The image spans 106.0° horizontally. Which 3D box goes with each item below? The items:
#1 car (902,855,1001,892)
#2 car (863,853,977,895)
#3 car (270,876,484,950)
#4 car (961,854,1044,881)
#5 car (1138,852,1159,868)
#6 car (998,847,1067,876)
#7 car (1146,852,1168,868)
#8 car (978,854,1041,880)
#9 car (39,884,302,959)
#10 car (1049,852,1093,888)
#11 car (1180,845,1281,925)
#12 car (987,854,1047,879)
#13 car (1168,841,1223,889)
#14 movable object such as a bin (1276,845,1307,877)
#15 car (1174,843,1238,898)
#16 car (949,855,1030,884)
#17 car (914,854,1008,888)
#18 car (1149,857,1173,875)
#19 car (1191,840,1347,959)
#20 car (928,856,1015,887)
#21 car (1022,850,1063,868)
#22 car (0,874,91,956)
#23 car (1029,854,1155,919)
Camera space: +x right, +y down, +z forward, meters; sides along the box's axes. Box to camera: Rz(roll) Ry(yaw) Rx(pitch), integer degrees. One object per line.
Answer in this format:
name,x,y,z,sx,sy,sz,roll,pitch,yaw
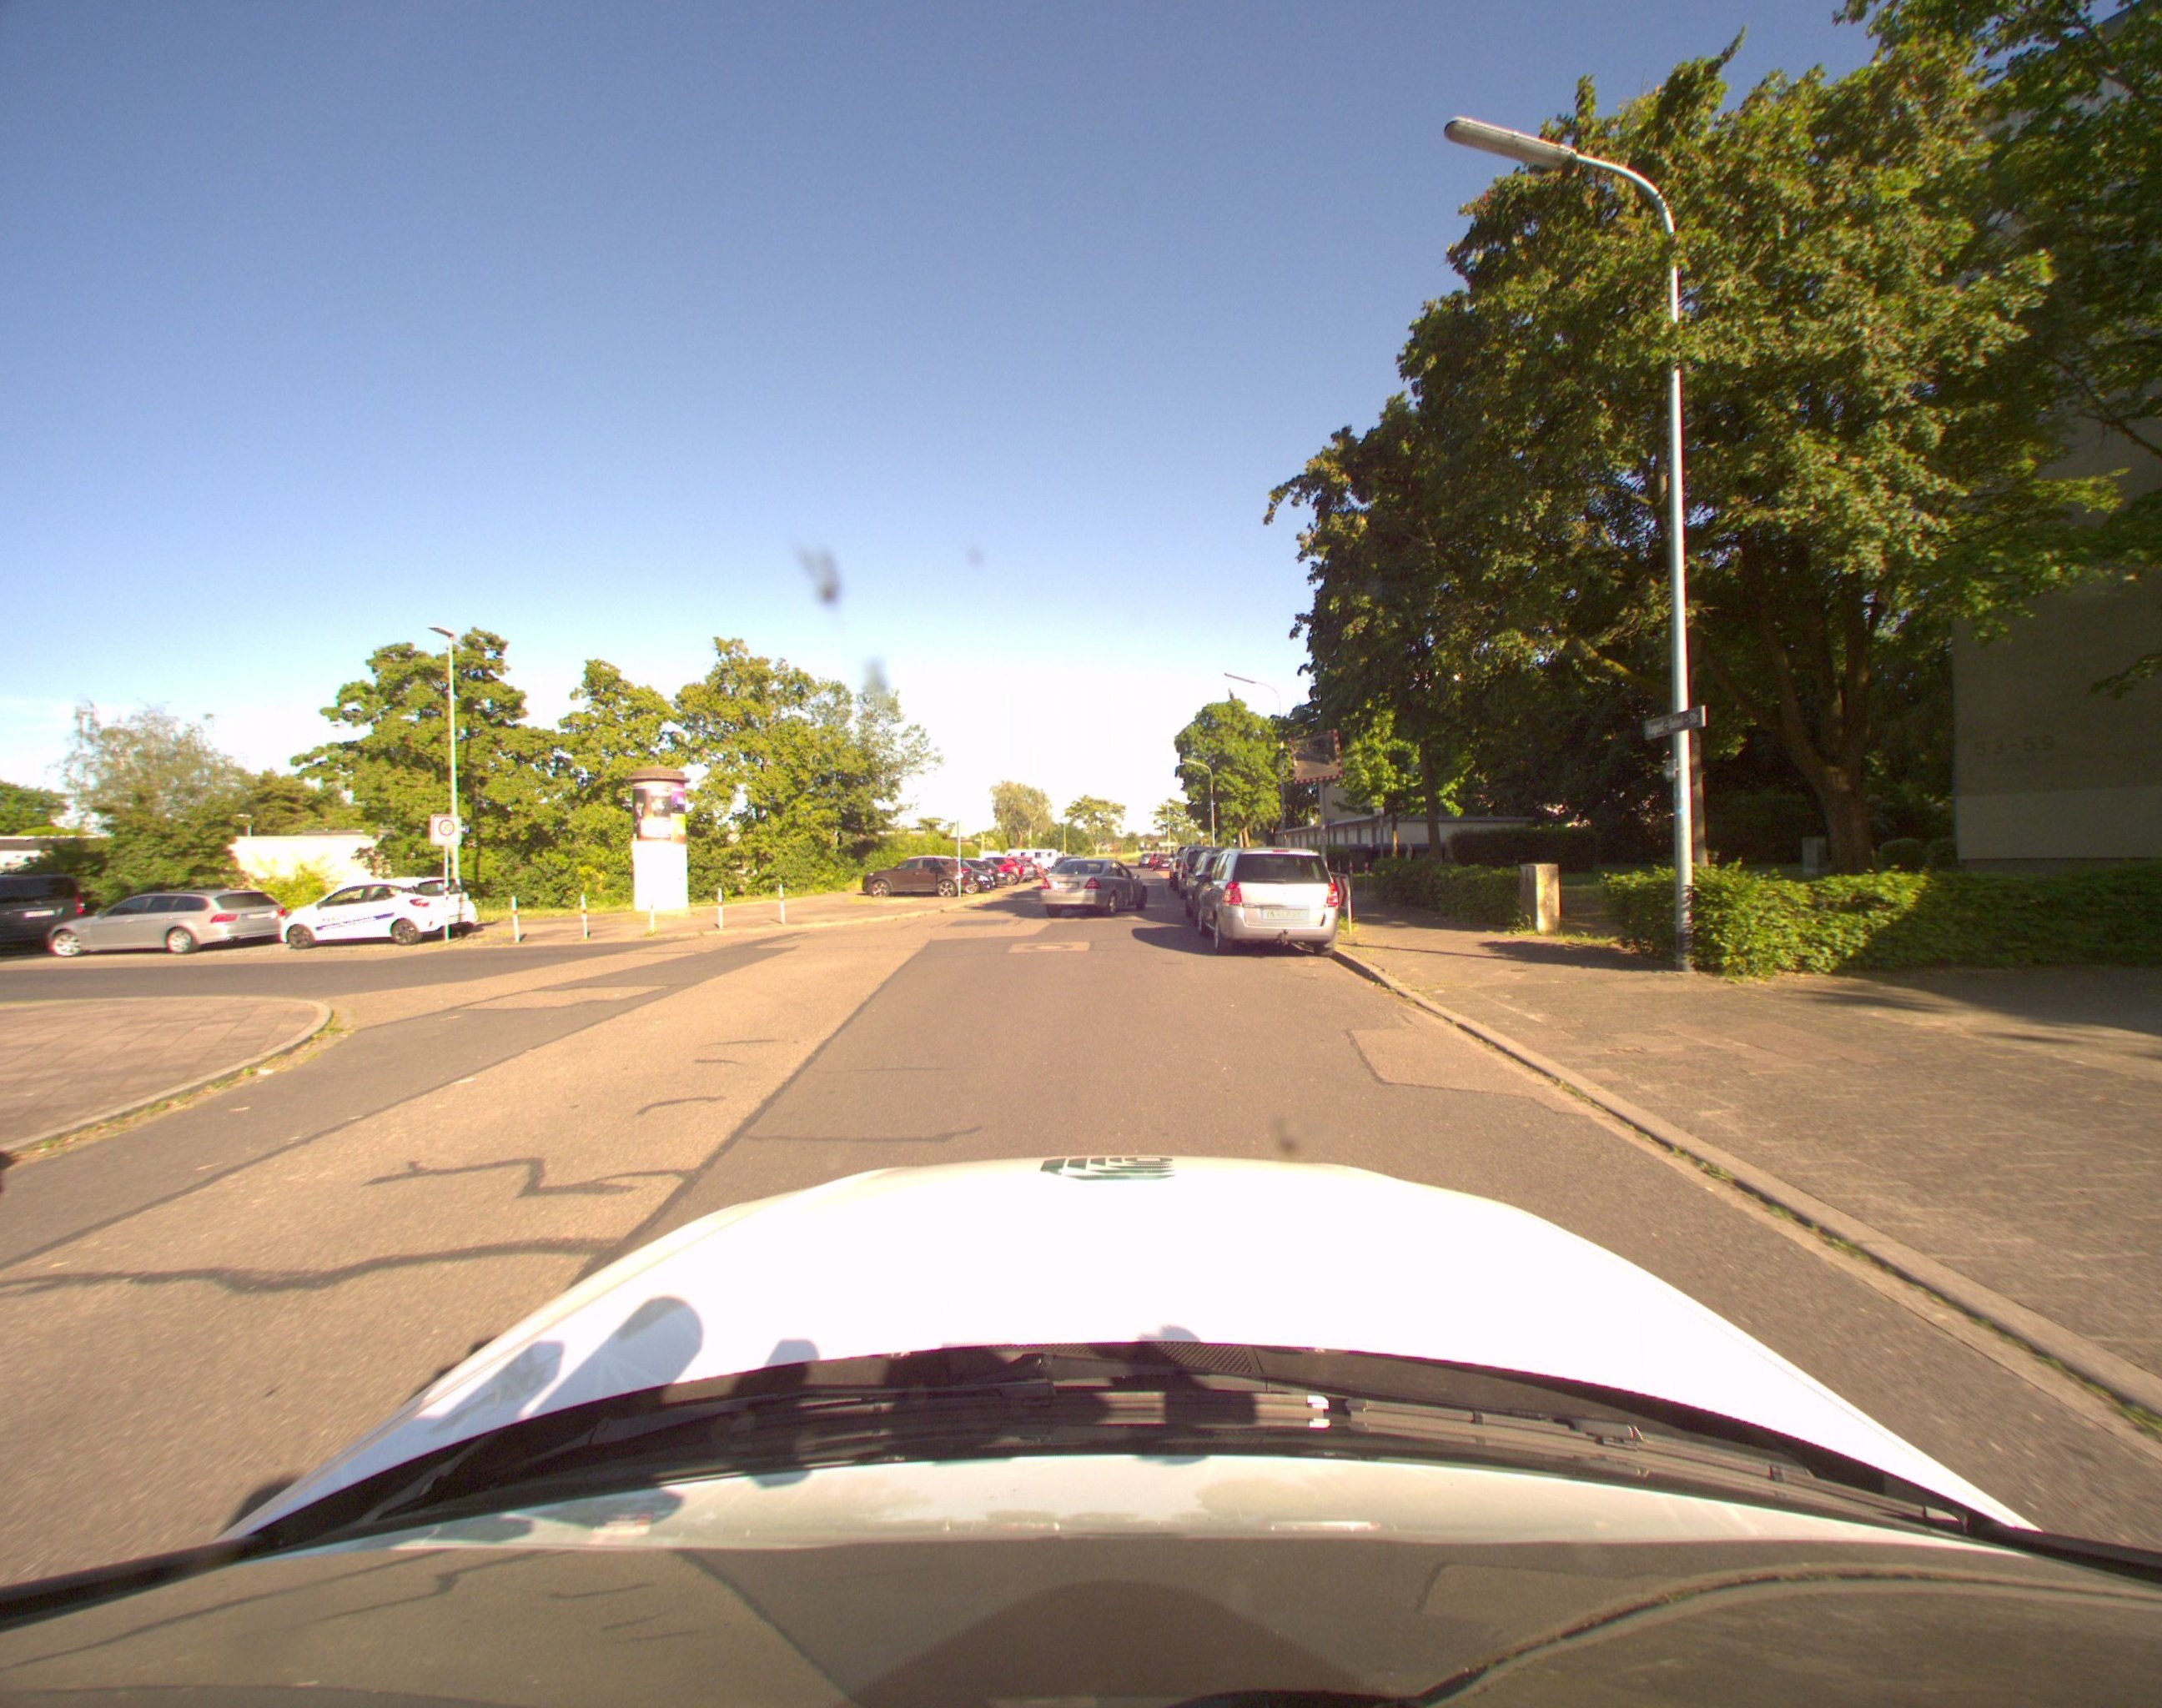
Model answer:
car,-5.658,0.846,35.809,3.971,1.532,1.833,0,-1,2
car,-6.428,0.797,32.905,4.170,1.656,1.847,0,-1,2
car,-16.471,1.345,19.183,3.505,1.462,1.739,-3,-1,2
car,-4.537,0.784,47.414,4.523,1.479,1.749,0,0,4
car,7.068,0.623,85.613,1.727,1.543,3.785,-1,-1,-2
car,-3.304,0.523,56.052,4.460,1.977,2.001,0,-1,3
car,7.114,0.536,76.115,1.571,1.446,3.785,-1,-1,-2
car,-4.410,0.775,50.482,3.586,1.567,1.883,0,0,4
car,-21.520,1.563,19.368,4.314,1.462,1.739,-3,-1,1
car,-0.425,0.756,39.317,1.642,1.556,4.007,-3,-1,5
car,3.252,0.628,18.423,1.796,1.594,4.028,0,0,4
car,-4.127,0.788,52.977,3.586,1.567,1.854,0,0,4
car,4.704,0.405,34.067,1.898,1.840,5.280,0,1,4
movable object such as a bin,9.265,0.313,35.796,1.241,1.347,1.057,-2,-1,16
car,4.327,0.505,28.860,1.825,1.791,4.560,0,1,3
car,-4.855,0.801,43.542,3.969,1.479,1.793,0,0,4
car,-5.548,0.789,38.010,4.076,1.512,1.813,0,-1,2
car,6.685,0.997,68.239,1.641,1.403,3.882,-2,-1,1
car,2.859,0.638,13.302,1.761,1.610,4.376,0,-1,3
car,-5.379,0.856,40.412,4.003,1.512,1.907,0,-1,2
car,-3.841,0.477,80.546,3.969,1.780,1.923,-1,0,-4
car,-27.038,1.535,19.593,4.314,1.855,1.739,-3,-1,1
car,0.425,0.753,21.234,1.800,1.463,4.384,-1,0,22
